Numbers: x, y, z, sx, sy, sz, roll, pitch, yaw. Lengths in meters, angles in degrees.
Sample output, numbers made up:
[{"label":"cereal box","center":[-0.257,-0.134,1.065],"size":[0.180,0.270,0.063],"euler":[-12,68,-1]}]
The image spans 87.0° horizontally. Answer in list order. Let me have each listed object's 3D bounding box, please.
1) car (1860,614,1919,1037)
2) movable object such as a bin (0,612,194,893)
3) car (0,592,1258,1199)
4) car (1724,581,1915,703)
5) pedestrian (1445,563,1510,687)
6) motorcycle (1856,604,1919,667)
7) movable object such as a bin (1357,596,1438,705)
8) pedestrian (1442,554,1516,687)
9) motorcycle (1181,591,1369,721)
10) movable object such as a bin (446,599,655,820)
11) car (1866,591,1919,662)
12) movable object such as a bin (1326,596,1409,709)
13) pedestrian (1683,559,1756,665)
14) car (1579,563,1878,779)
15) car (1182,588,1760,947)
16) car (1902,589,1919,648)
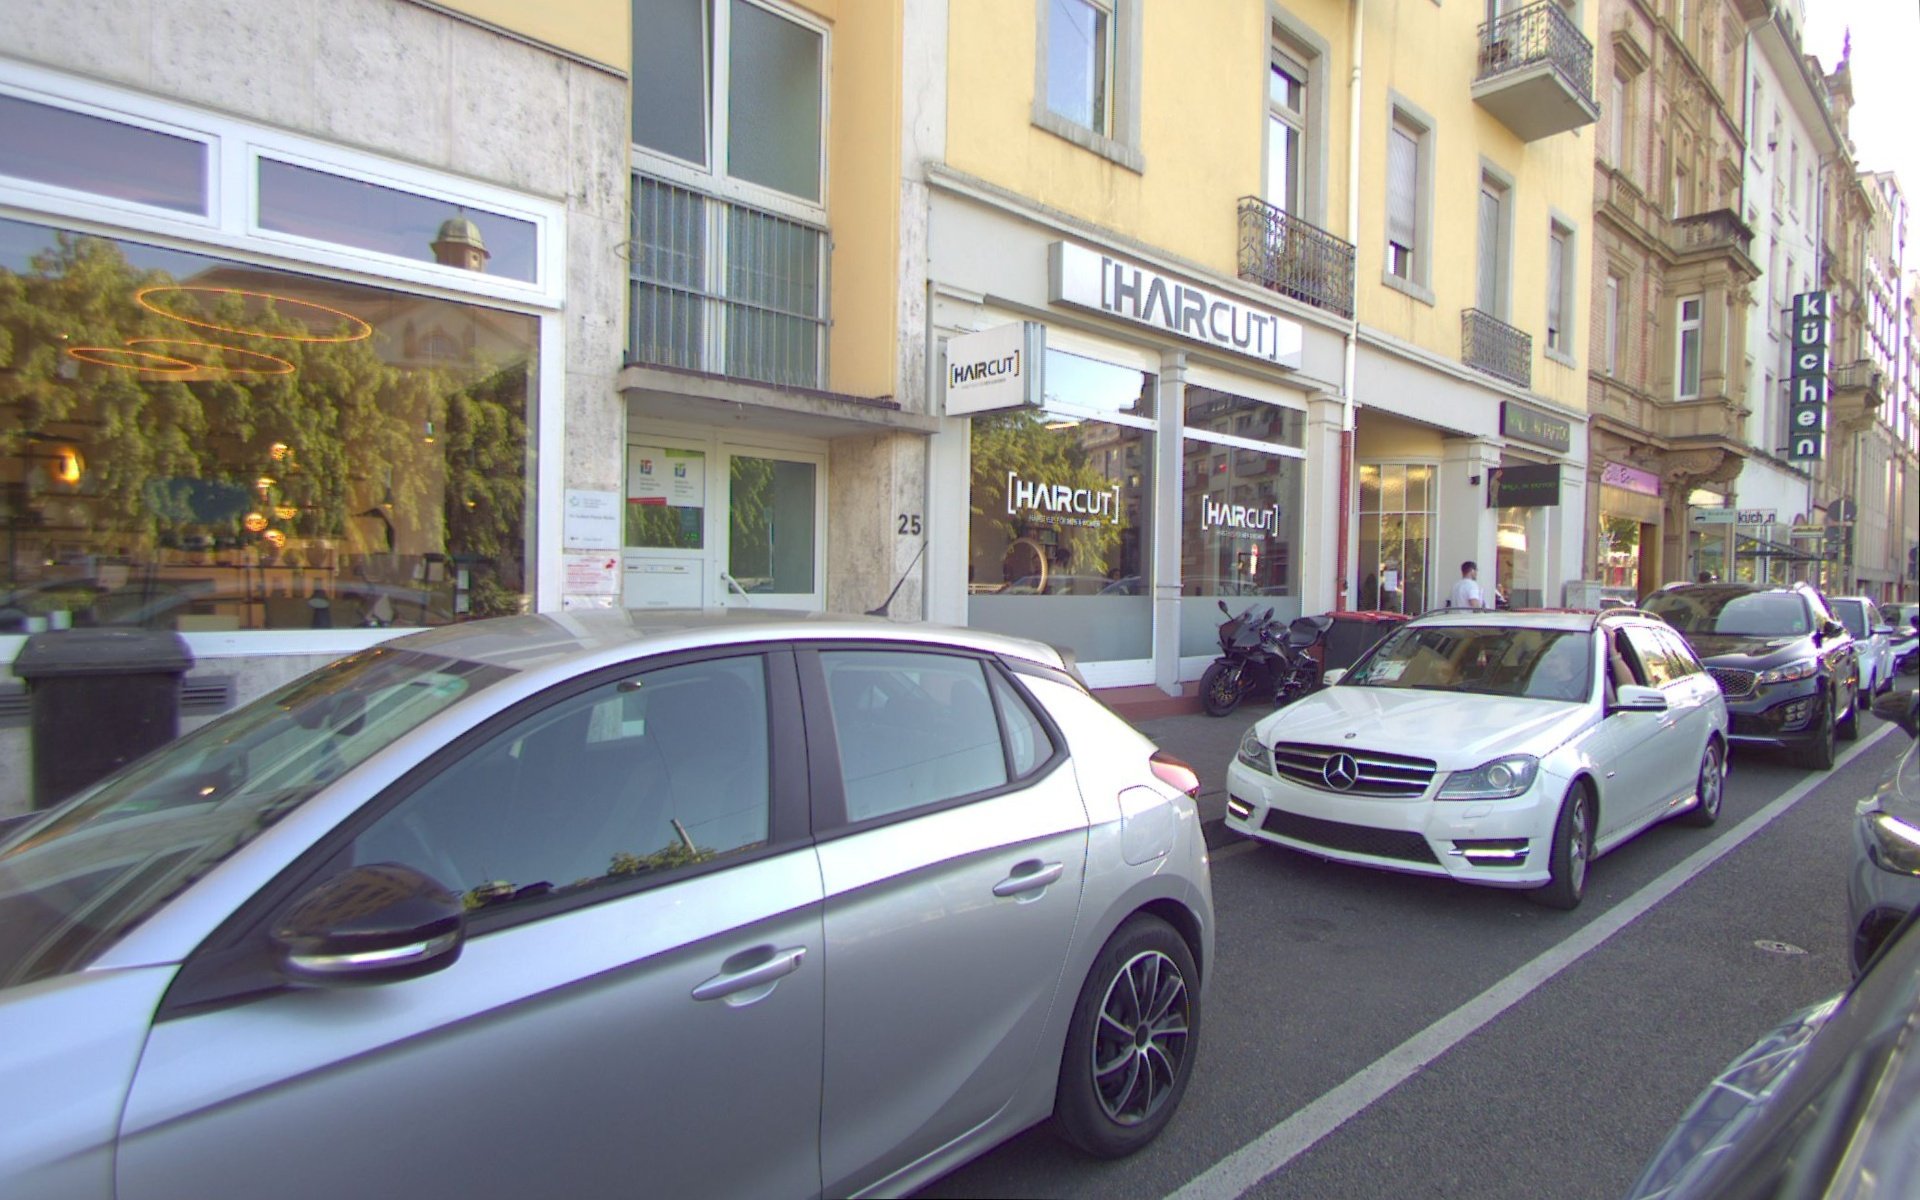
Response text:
[{"label":"car","center":[5.300,0.778,4.257],"size":[4.183,1.396,1.846],"euler":[0,1,-42]},{"label":"movable object such as a bin","center":[-3.705,0.591,4.372],"size":[0.591,1.041,0.812],"euler":[0,1,-40]},{"label":"car","center":[-1.041,0.701,2.311],"size":[3.642,1.415,1.652],"euler":[0,1,-42]},{"label":"car","center":[12.676,0.530,14.889],"size":[2.965,1.587,1.695],"euler":[0,1,-40]},{"label":"pedestrian","center":[7.010,0.321,13.709],"size":[0.631,1.637,0.572],"euler":[0,0,-40]},{"label":"motorcycle","center":[19.277,0.710,20.512],"size":[1.514,1.248,0.771],"euler":[1,0,1]},{"label":"movable object such as a bin","center":[5.136,0.566,11.882],"size":[0.633,1.222,0.647],"euler":[0,0,-40]},{"label":"pedestrian","center":[6.666,0.248,12.995],"size":[0.689,1.637,0.641],"euler":[0,0,-42]},{"label":"motorcycle","center":[3.311,0.523,10.520],"size":[2.208,1.179,0.773],"euler":[0,4,-41]},{"label":"movable object such as a bin","center":[-2.256,0.540,5.569],"size":[0.878,1.066,0.752],"euler":[0,1,-40]},{"label":"car","center":[22.133,0.564,23.133],"size":[3.931,1.504,1.713],"euler":[0,1,-42]},{"label":"movable object such as a bin","center":[4.626,0.572,11.493],"size":[0.633,1.222,0.647],"euler":[0,0,-40]},{"label":"pedestrian","center":[12.119,0.181,16.153],"size":[0.750,1.637,0.794],"euler":[0,1,-43]},{"label":"car","center":[8.010,0.535,10.357],"size":[1.853,1.719,4.623],"euler":[1,1,45]},{"label":"car","center":[3.472,0.679,6.391],"size":[4.519,1.480,1.757],"euler":[0,1,-42]},{"label":"car","center":[26.389,0.483,26.856],"size":[3.931,1.504,1.713],"euler":[0,1,-42]}]
